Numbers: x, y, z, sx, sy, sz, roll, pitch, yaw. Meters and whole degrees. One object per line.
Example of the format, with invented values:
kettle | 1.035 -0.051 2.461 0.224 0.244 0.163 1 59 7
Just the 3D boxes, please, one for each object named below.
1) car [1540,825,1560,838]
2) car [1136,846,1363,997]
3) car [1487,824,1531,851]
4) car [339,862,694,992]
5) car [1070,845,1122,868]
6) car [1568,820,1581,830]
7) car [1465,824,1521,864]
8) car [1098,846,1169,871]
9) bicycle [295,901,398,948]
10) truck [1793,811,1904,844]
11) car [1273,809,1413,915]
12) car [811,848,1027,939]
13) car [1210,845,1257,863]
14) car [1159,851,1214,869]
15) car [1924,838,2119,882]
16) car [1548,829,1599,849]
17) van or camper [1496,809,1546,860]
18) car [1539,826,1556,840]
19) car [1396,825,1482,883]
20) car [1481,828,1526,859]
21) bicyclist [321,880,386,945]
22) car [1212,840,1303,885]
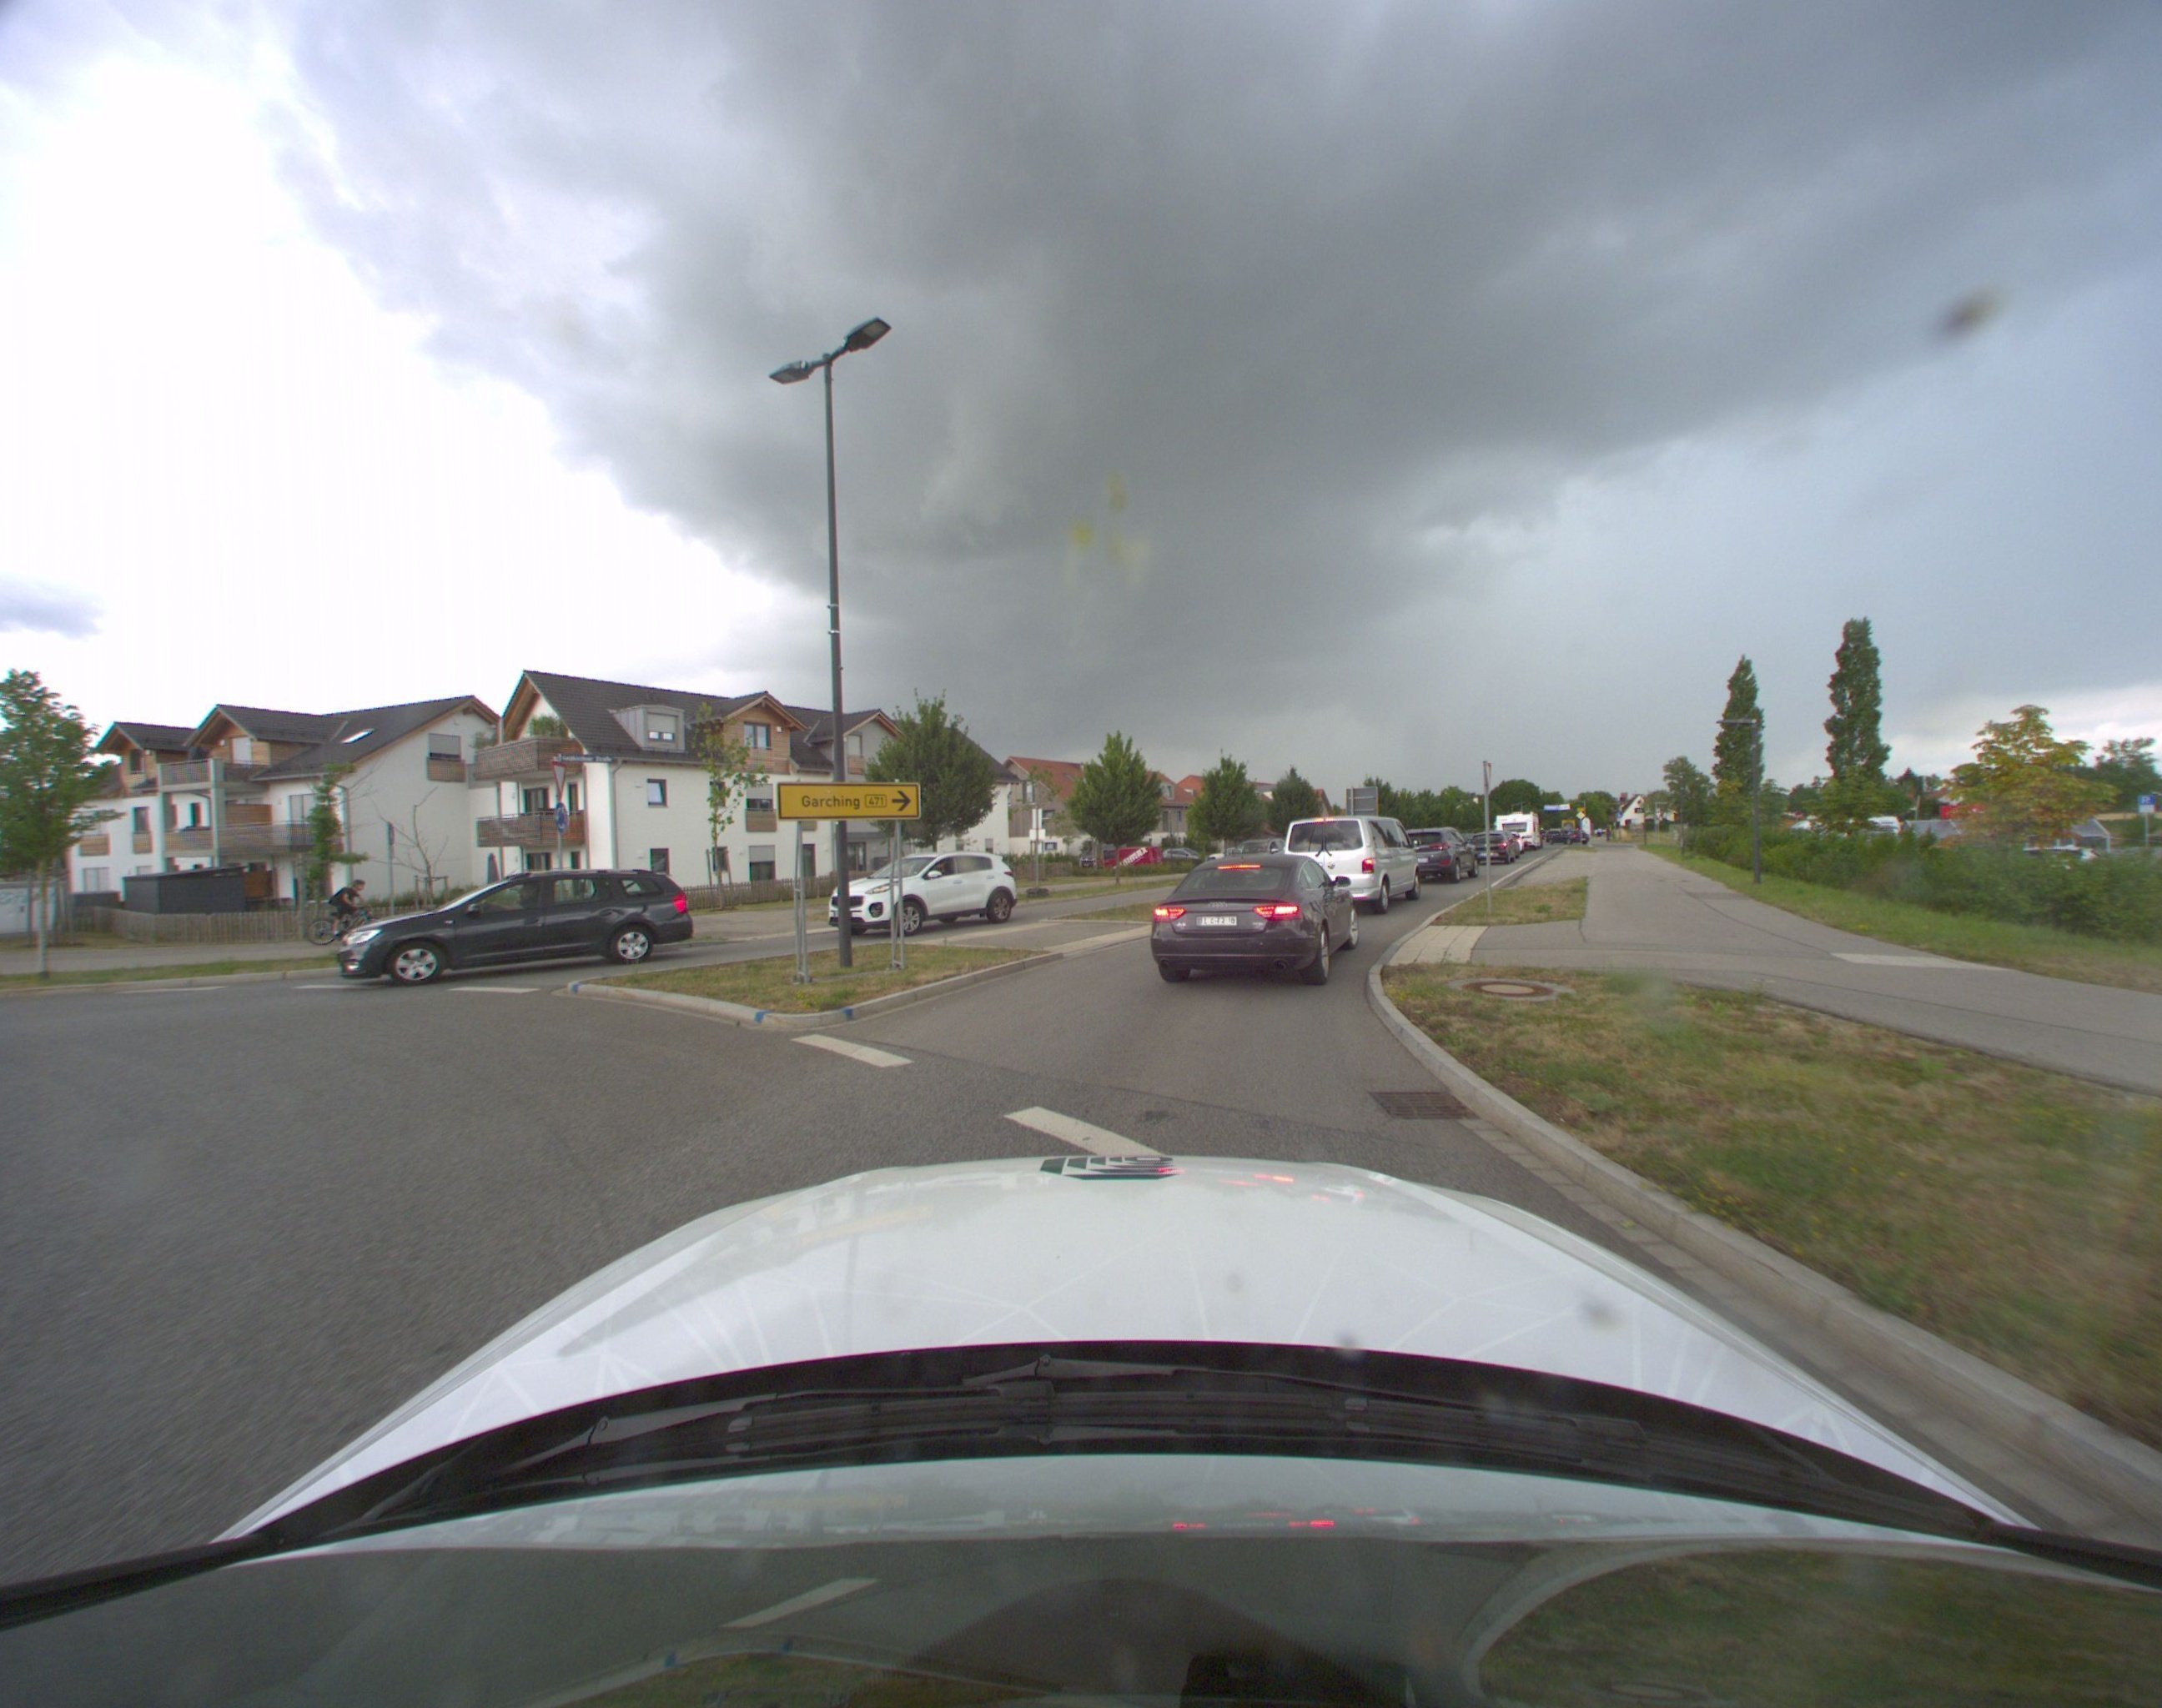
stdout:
car | 55.916 -2.659 97.070 1.827 1.435 4.026 0 1 32
car | 2.268 0.632 9.933 1.768 1.391 4.157 -1 1 25
car | 26.596 -1.013 50.511 1.974 1.596 4.026 -1 0 34
car | -8.603 0.986 12.688 4.302 1.564 1.752 -2 -1 -41
car | 1.296 0.166 67.446 1.974 1.772 4.494 -1 1 38
car | 109.611 -6.407 180.835 1.974 2.211 4.026 -1 1 37
car | 18.272 -0.462 35.998 1.759 1.618 4.026 -2 0 32
car | 3.660 0.347 57.042 4.486 1.680 2.013 -1 1 36
bicycle | -17.454 1.655 19.387 1.713 0.946 0.494 -3 0 -19
truck | 48.612 -1.662 51.738 4.751 1.872 2.012 -1 1 28
car | 5.589 0.115 17.050 1.849 1.934 4.026 -1 1 32
car | -3.307 0.755 17.450 1.692 1.626 4.479 -4 -1 37
car | 13.550 -0.013 72.376 3.694 1.482 1.697 -1 1 30
car | 8.303 0.470 64.281 3.877 1.315 1.854 -1 1 30
car | 33.709 0.222 29.386 4.191 1.440 2.013 -1 1 33
car | 47.210 -1.389 78.150 1.619 1.794 3.972 -2 0 -21
van or camper | 31.406 -1.357 58.039 2.599 3.323 6.865 -1 0 32
car | 65.525 -2.952 114.375 1.974 1.899 4.026 -1 1 32
car | 11.054 -0.022 25.000 1.759 1.618 4.026 -1 1 33
car | 21.779 -0.566 41.898 1.759 1.434 3.826 -2 0 31
bicyclist | -17.356 1.376 19.443 0.869 1.446 0.720 -3 0 -18
car | 7.236 0.289 33.059 1.974 1.703 4.664 1 1 34
